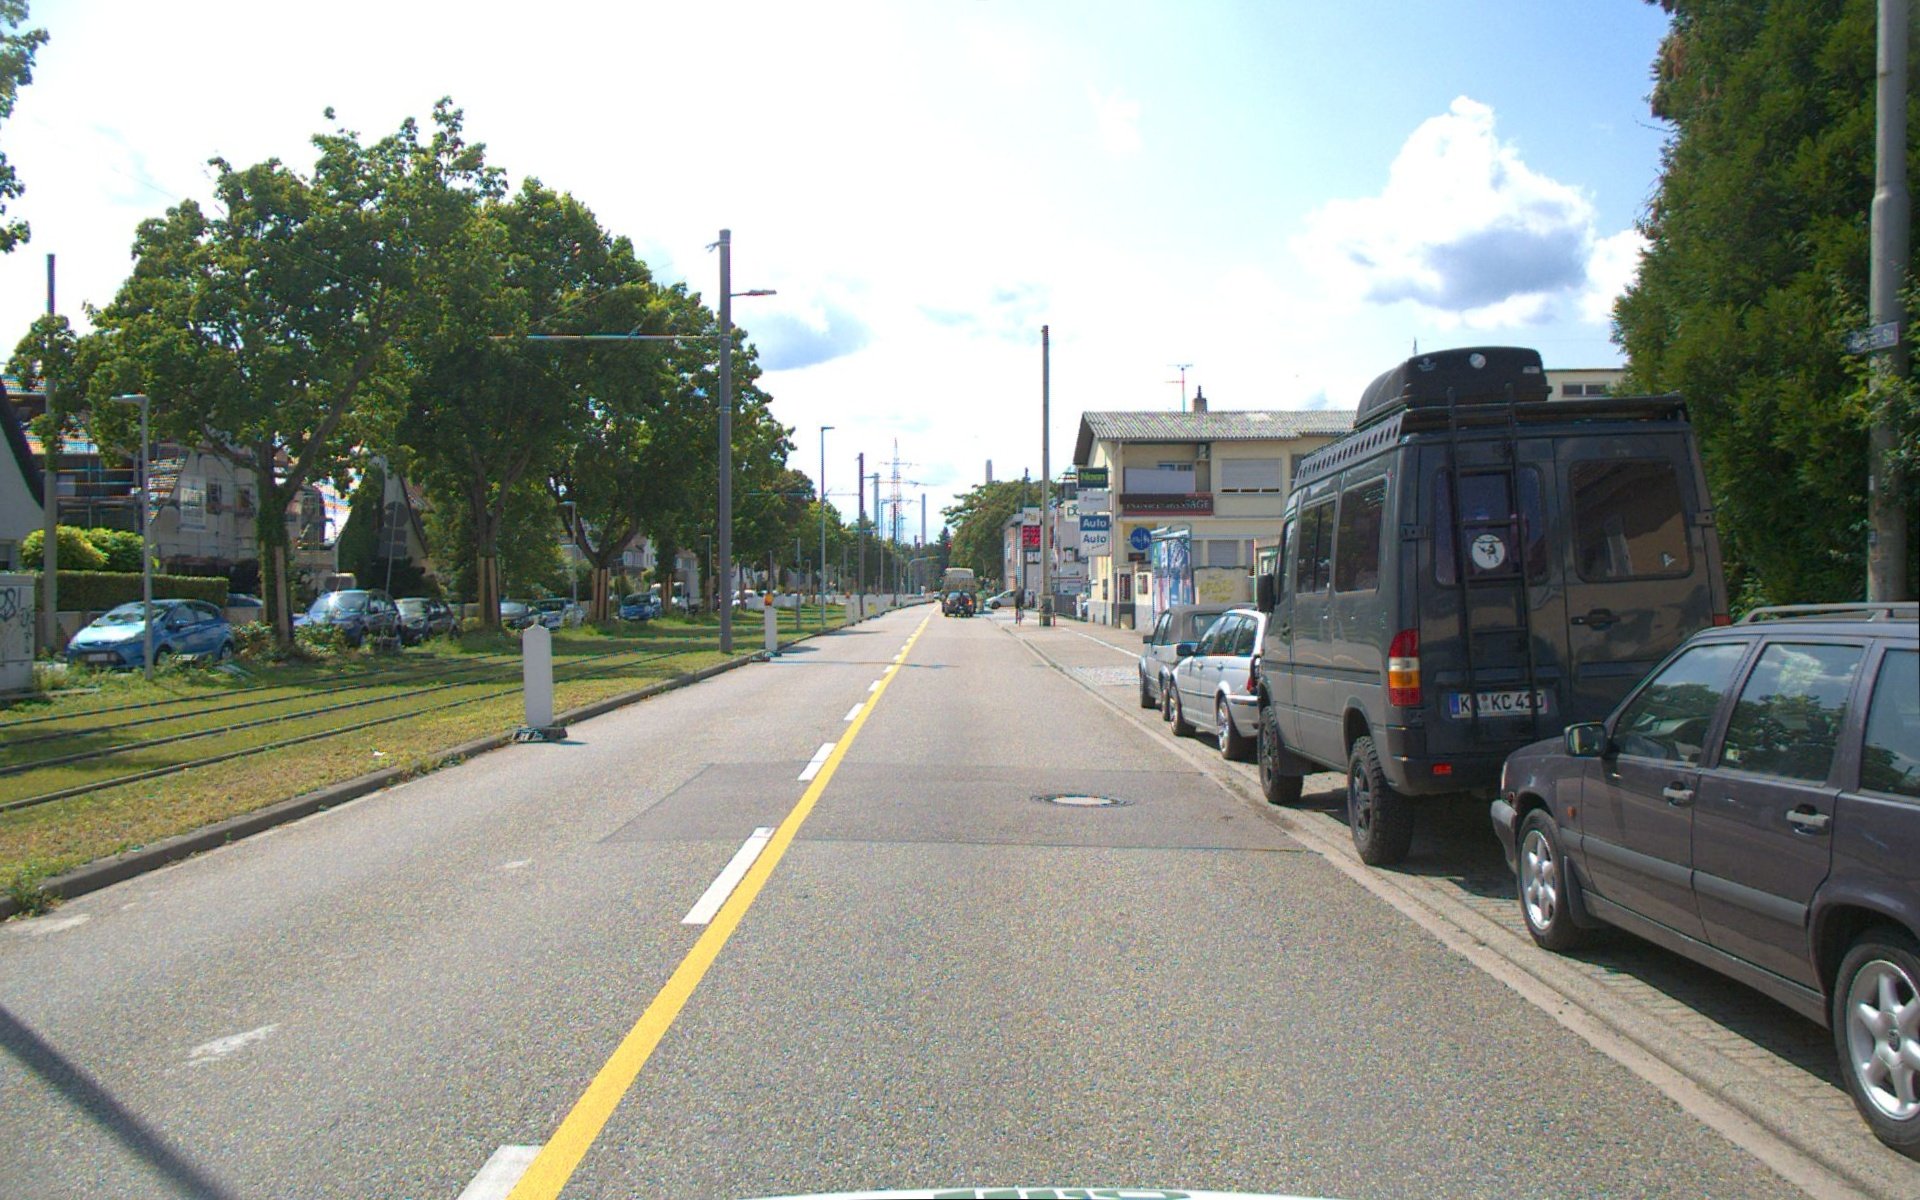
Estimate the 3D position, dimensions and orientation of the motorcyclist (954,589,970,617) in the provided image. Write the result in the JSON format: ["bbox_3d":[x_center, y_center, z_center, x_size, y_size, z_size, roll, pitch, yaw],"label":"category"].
[{"bbox_3d":[0.108,0.166,100.144,0.920,1.643,1.205,2,0,0],"label":"motorcyclist"}]

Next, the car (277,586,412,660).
[{"bbox_3d":[-15.398,0.574,41.641,1.954,1.720,4.388,-1,0,-4],"label":"car"}]

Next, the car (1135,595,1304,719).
[{"bbox_3d":[3.334,0.699,21.953,1.617,1.456,4.097,-1,0,1],"label":"car"}]

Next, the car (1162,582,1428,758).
[{"bbox_3d":[3.277,0.640,17.048,1.657,1.543,4.353,-1,0,-3],"label":"car"}]

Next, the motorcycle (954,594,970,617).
[{"bbox_3d":[0.100,0.322,100.324,0.920,1.343,2.645,2,0,0],"label":"motorcycle"}]

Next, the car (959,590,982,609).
[{"bbox_3d":[0.864,-0.039,134.000,1.784,1.489,4.000,0,0,0],"label":"car"}]

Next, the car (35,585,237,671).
[{"bbox_3d":[-15.251,0.503,30.842,1.717,1.461,3.890,-1,0,2],"label":"car"}]

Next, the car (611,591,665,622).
[{"bbox_3d":[-15.723,0.325,80.944,1.953,1.478,3.998,-1,0,-2],"label":"car"}]

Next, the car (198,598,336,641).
[{"bbox_3d":[-23.856,0.667,57.064,3.905,1.426,1.982,1,-1,-1],"label":"car"}]

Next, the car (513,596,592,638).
[{"bbox_3d":[-15.579,0.651,63.505,1.768,1.508,4.939,-1,0,0],"label":"car"}]

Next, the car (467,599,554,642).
[{"bbox_3d":[-15.676,0.699,57.850,1.953,1.340,3.852,-3,0,-1],"label":"car"}]

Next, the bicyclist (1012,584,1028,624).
[{"bbox_3d":[2.608,0.173,72.222,0.657,1.774,0.813,0,0,-1],"label":"bicyclist"}]

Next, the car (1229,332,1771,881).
[{"bbox_3d":[3.211,0.028,11.058,1.955,2.809,4.878,-1,0,0],"label":"car"}]

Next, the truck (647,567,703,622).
[{"bbox_3d":[-15.805,-0.340,92.012,1.953,2.815,6.276,-3,1,0],"label":"truck"}]

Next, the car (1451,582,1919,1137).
[{"bbox_3d":[3.313,0.658,5.828,1.686,1.426,4.836,-2,0,0],"label":"car"}]

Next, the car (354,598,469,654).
[{"bbox_3d":[-15.740,0.725,47.656,1.953,1.464,3.999,-2,0,-1],"label":"car"}]

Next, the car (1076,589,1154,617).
[{"bbox_3d":[8.322,0.168,88.476,4.094,1.456,1.821,-1,0,7],"label":"car"}]

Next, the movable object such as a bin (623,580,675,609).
[{"bbox_3d":[-27.335,-0.500,145.289,4.276,2.492,1.777,-1,0,-22],"label":"movable object such as a bin"}]

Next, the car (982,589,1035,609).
[{"bbox_3d":[4.134,-0.101,142.292,4.249,1.579,1.946,-1,0,-9],"label":"car"}]

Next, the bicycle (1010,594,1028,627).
[{"bbox_3d":[2.562,0.458,72.263,0.678,1.385,2.418,-1,0,-1],"label":"bicycle"}]

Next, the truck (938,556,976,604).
[{"bbox_3d":[-0.174,-1.526,120.977,2.557,3.312,9.183,-1,1,0],"label":"truck"}]

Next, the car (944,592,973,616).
[{"bbox_3d":[-0.087,0.250,104.798,1.784,1.449,4.000,0,0,0],"label":"car"}]
